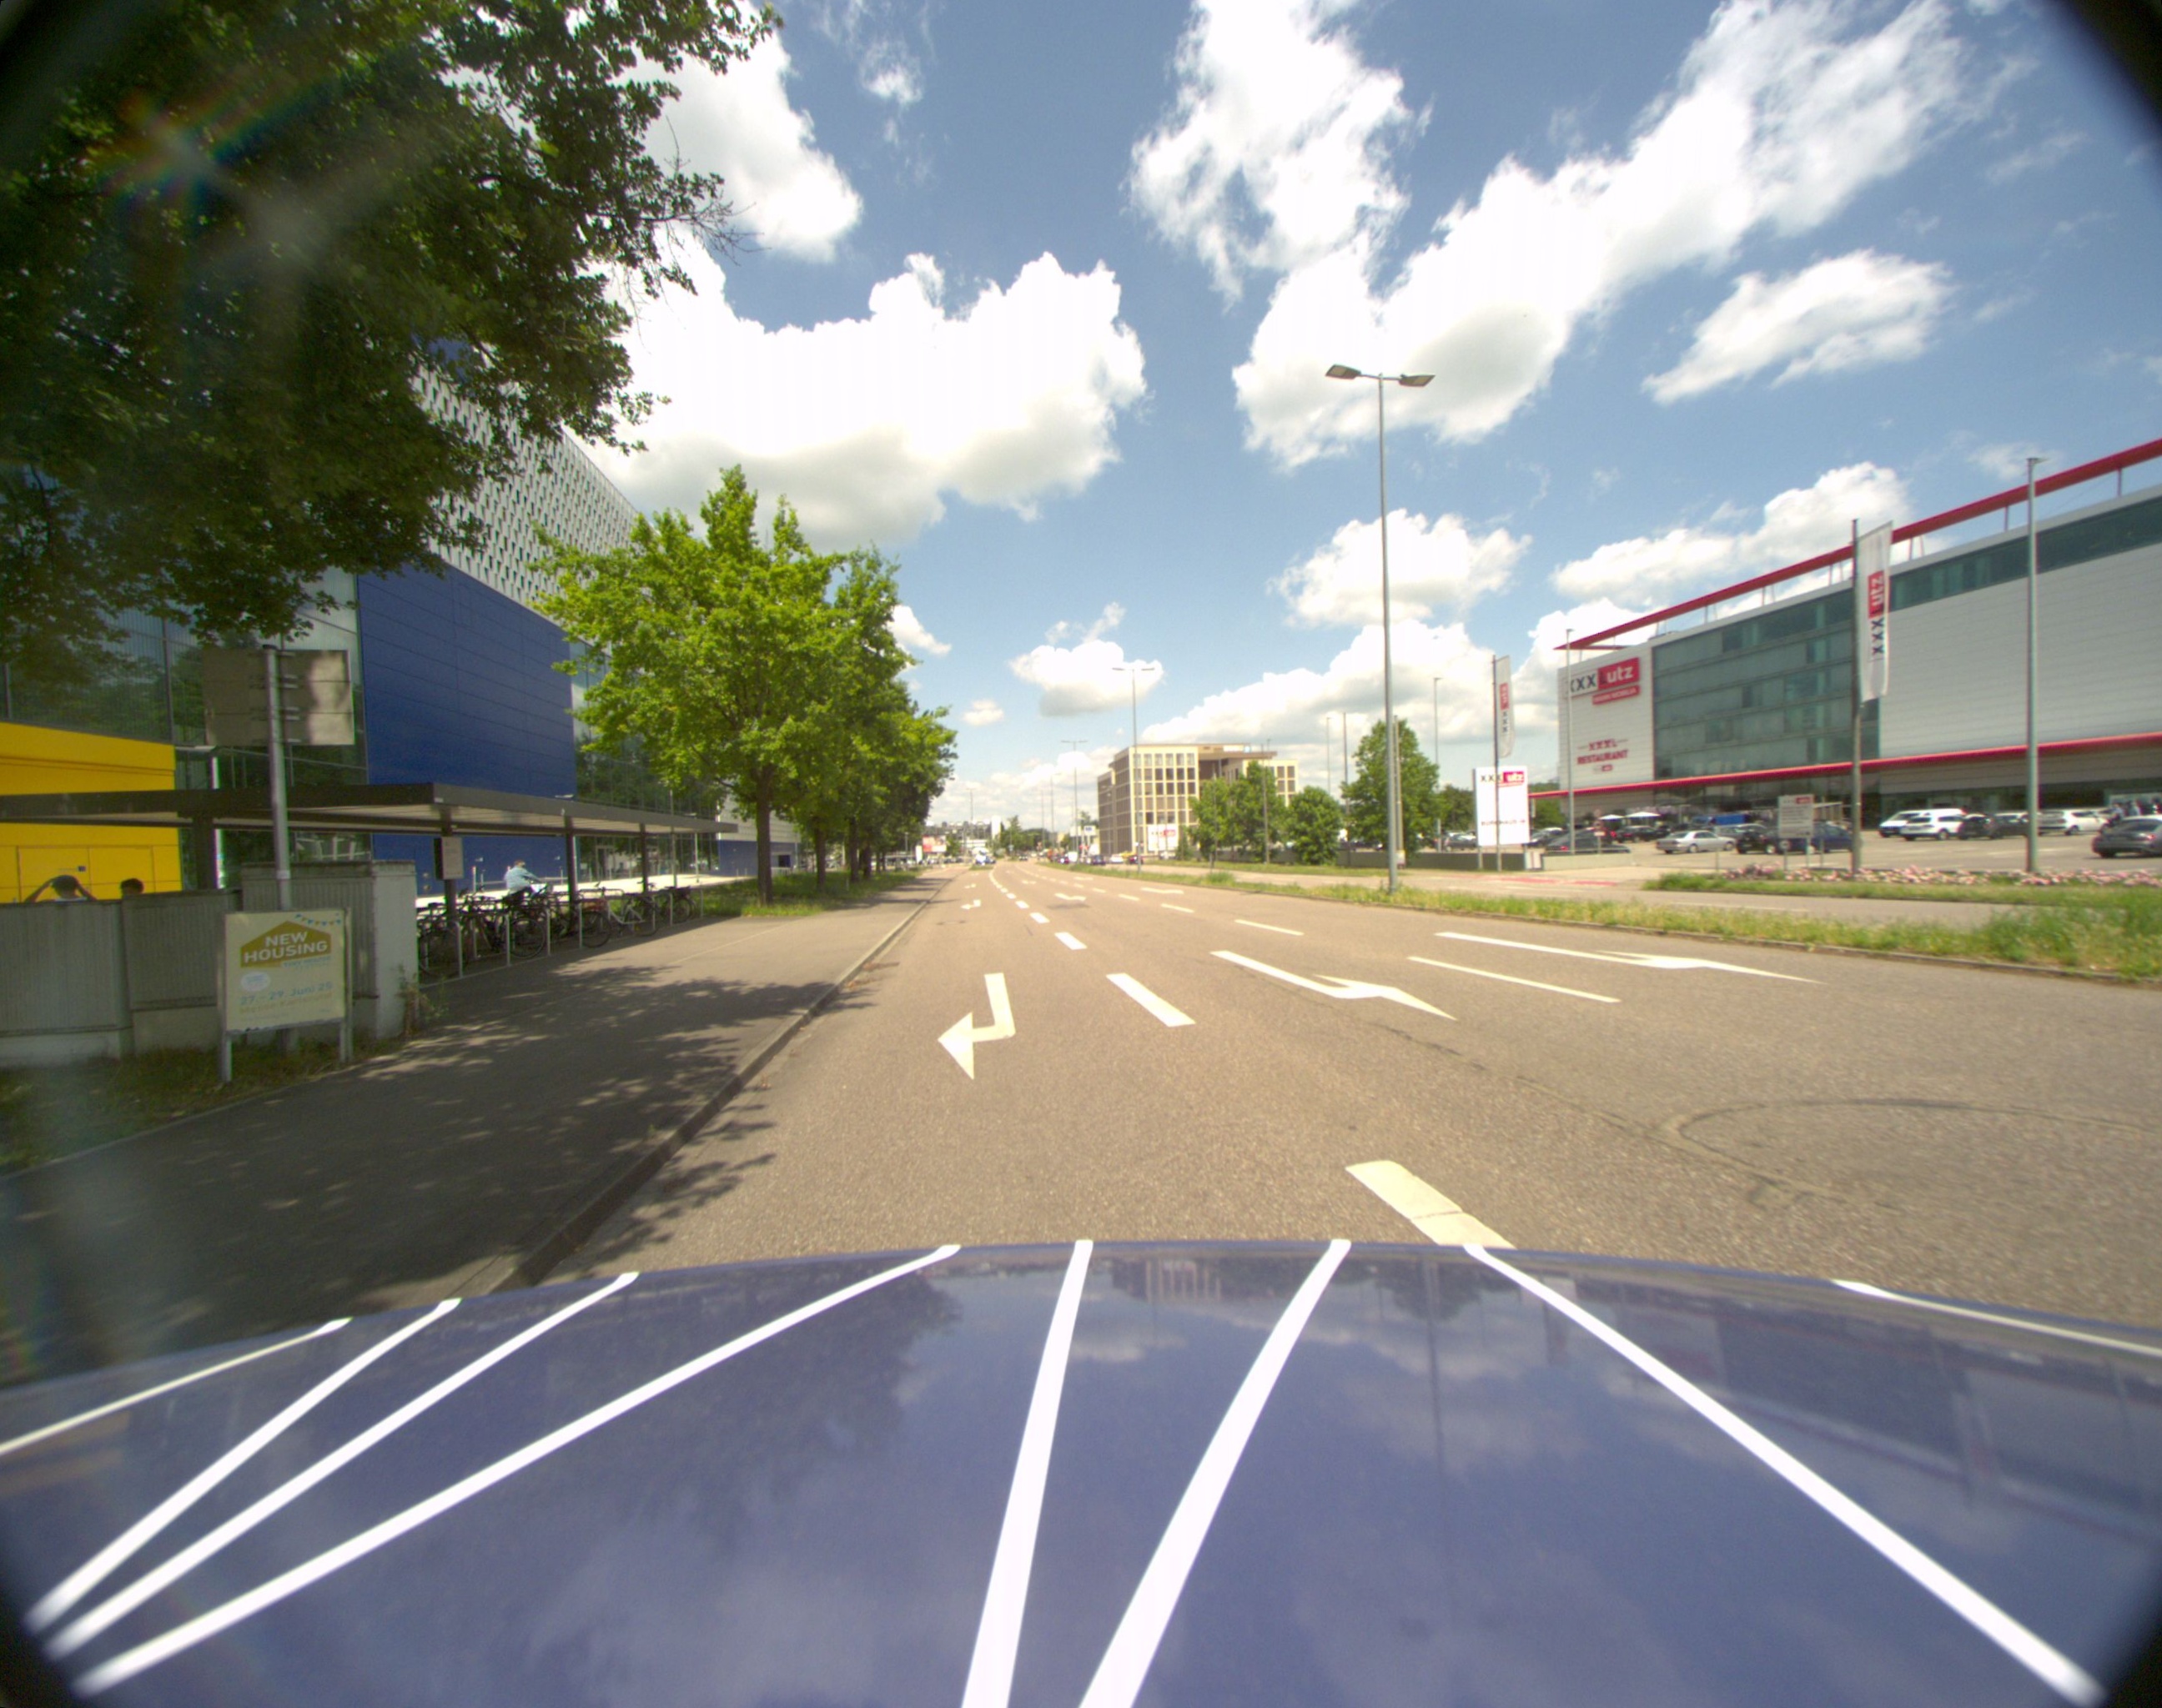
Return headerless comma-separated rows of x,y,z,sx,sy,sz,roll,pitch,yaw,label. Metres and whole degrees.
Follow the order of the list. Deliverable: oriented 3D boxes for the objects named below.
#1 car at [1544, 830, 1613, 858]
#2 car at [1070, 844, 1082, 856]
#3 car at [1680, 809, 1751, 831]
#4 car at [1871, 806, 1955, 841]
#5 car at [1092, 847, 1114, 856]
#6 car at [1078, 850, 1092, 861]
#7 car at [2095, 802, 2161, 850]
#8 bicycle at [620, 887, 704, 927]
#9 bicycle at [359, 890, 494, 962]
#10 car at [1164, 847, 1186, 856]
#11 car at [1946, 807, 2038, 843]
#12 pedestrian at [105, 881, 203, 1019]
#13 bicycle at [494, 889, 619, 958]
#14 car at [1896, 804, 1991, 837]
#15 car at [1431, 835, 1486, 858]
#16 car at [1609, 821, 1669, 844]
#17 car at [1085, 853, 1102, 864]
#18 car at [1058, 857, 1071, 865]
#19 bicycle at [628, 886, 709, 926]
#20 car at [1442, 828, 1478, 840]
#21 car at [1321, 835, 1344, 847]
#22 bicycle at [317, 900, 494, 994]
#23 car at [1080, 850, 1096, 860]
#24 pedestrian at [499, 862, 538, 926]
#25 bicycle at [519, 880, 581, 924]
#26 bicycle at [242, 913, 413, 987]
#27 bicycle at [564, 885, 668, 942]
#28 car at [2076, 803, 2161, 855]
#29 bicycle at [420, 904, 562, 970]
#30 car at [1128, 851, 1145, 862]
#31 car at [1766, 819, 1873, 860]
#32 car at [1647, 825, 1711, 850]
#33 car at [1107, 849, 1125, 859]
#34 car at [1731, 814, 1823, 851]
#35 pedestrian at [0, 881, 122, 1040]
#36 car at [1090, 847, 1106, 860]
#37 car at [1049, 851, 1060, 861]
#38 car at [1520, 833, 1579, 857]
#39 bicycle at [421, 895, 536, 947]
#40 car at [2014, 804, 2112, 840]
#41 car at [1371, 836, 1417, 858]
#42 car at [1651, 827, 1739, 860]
39.183,-0.792,59.888,4.363,1.978,1.998,-2,1,-9,car
-0.862,-0.740,133.744,1.862,2.031,3.575,-2,0,-5,car
58.385,-3.118,69.978,5.134,1.768,2.197,-2,0,-9,car
60.253,-2.202,55.046,4.571,2.293,1.868,-2,1,-9,car
4.232,-0.514,145.143,3.994,1.681,1.859,-2,0,8,car
0.607,0.200,119.901,1.797,1.691,4.225,-2,0,-6,car
47.517,-1.271,33.191,4.363,1.978,1.998,-2,2,-9,car
-10.915,1.375,19.850,1.868,0.989,0.423,0,0,-13,bicycle
-11.966,1.300,13.929,1.868,1.224,0.423,-1,1,-13,bicycle
18.344,-0.414,148.007,3.993,1.681,1.860,-2,0,12,car
55.820,-1.790,46.596,4.000,2.002,1.776,-2,0,-9,car
-11.666,1.190,9.576,0.546,1.652,0.478,-2,1,-10,pedestrian
-9.827,1.284,14.285,1.868,1.180,0.423,-1,1,-13,bicycle
55.598,-2.135,49.003,4.363,1.978,1.998,-2,1,-9,car
36.809,-0.734,74.137,4.363,1.977,1.999,-2,-1,-9,car
52.375,-1.974,71.359,4.363,1.978,1.998,-2,1,-9,car
1.679,0.643,106.607,1.797,1.409,4.671,-1,0,-6,car
-2.643,1.134,121.410,1.797,1.243,4.305,-2,0,-6,car
-11.016,1.385,20.330,1.868,0.989,0.423,0,0,-13,bicycle
48.951,-2.608,98.263,3.832,1.461,1.680,-2,0,-6,car
41.091,-2.067,124.072,1.856,1.822,3.829,-2,0,-11,car
-9.453,1.282,10.690,1.868,1.180,0.423,-1,1,-13,bicycle
1.072,0.188,113.151,1.797,1.393,4.843,-1,0,-6,car
-15.515,1.079,20.965,0.523,1.712,0.636,0,2,30,pedestrian
-14.541,1.300,20.783,2.009,1.101,0.578,0,1,30,bicycle
-11.321,1.428,11.464,1.868,0.989,0.423,-1,1,-13,bicycle
-10.068,1.287,16.499,1.902,1.163,0.423,-1,1,-7,bicycle
42.360,-1.013,29.923,4.363,1.978,1.998,-2,1,-9,car
-9.899,1.377,12.804,1.868,0.989,0.423,-1,1,-13,bicycle
7.515,0.340,102.812,1.624,1.461,4.115,-2,0,-4,car
41.103,-0.802,42.323,4.363,1.978,1.998,-3,1,-9,car
52.658,-1.435,66.915,4.363,1.978,1.998,-2,1,-9,car
5.404,0.044,118.178,1.625,1.464,4.353,-2,0,-15,car
40.933,-1.260,44.734,4.085,1.978,1.841,-3,1,-9,car
-11.159,1.140,8.309,0.545,1.653,0.546,-2,1,3,pedestrian
2.164,-0.072,97.945,1.744,1.466,3.674,-1,1,-5,car
-4.696,0.384,133.376,1.797,1.635,4.169,-2,0,-5,car
43.089,-0.829,69.940,4.300,2.031,1.990,-2,1,-9,car
-12.627,1.399,15.958,1.868,0.989,0.423,-1,2,-13,bicycle
60.914,-1.966,47.177,4.000,2.002,1.998,-2,0,-9,car
35.261,-0.820,85.715,4.363,2.315,1.998,-2,1,-9,car
39.865,-0.692,49.367,4.363,1.978,1.998,-2,1,-9,car
